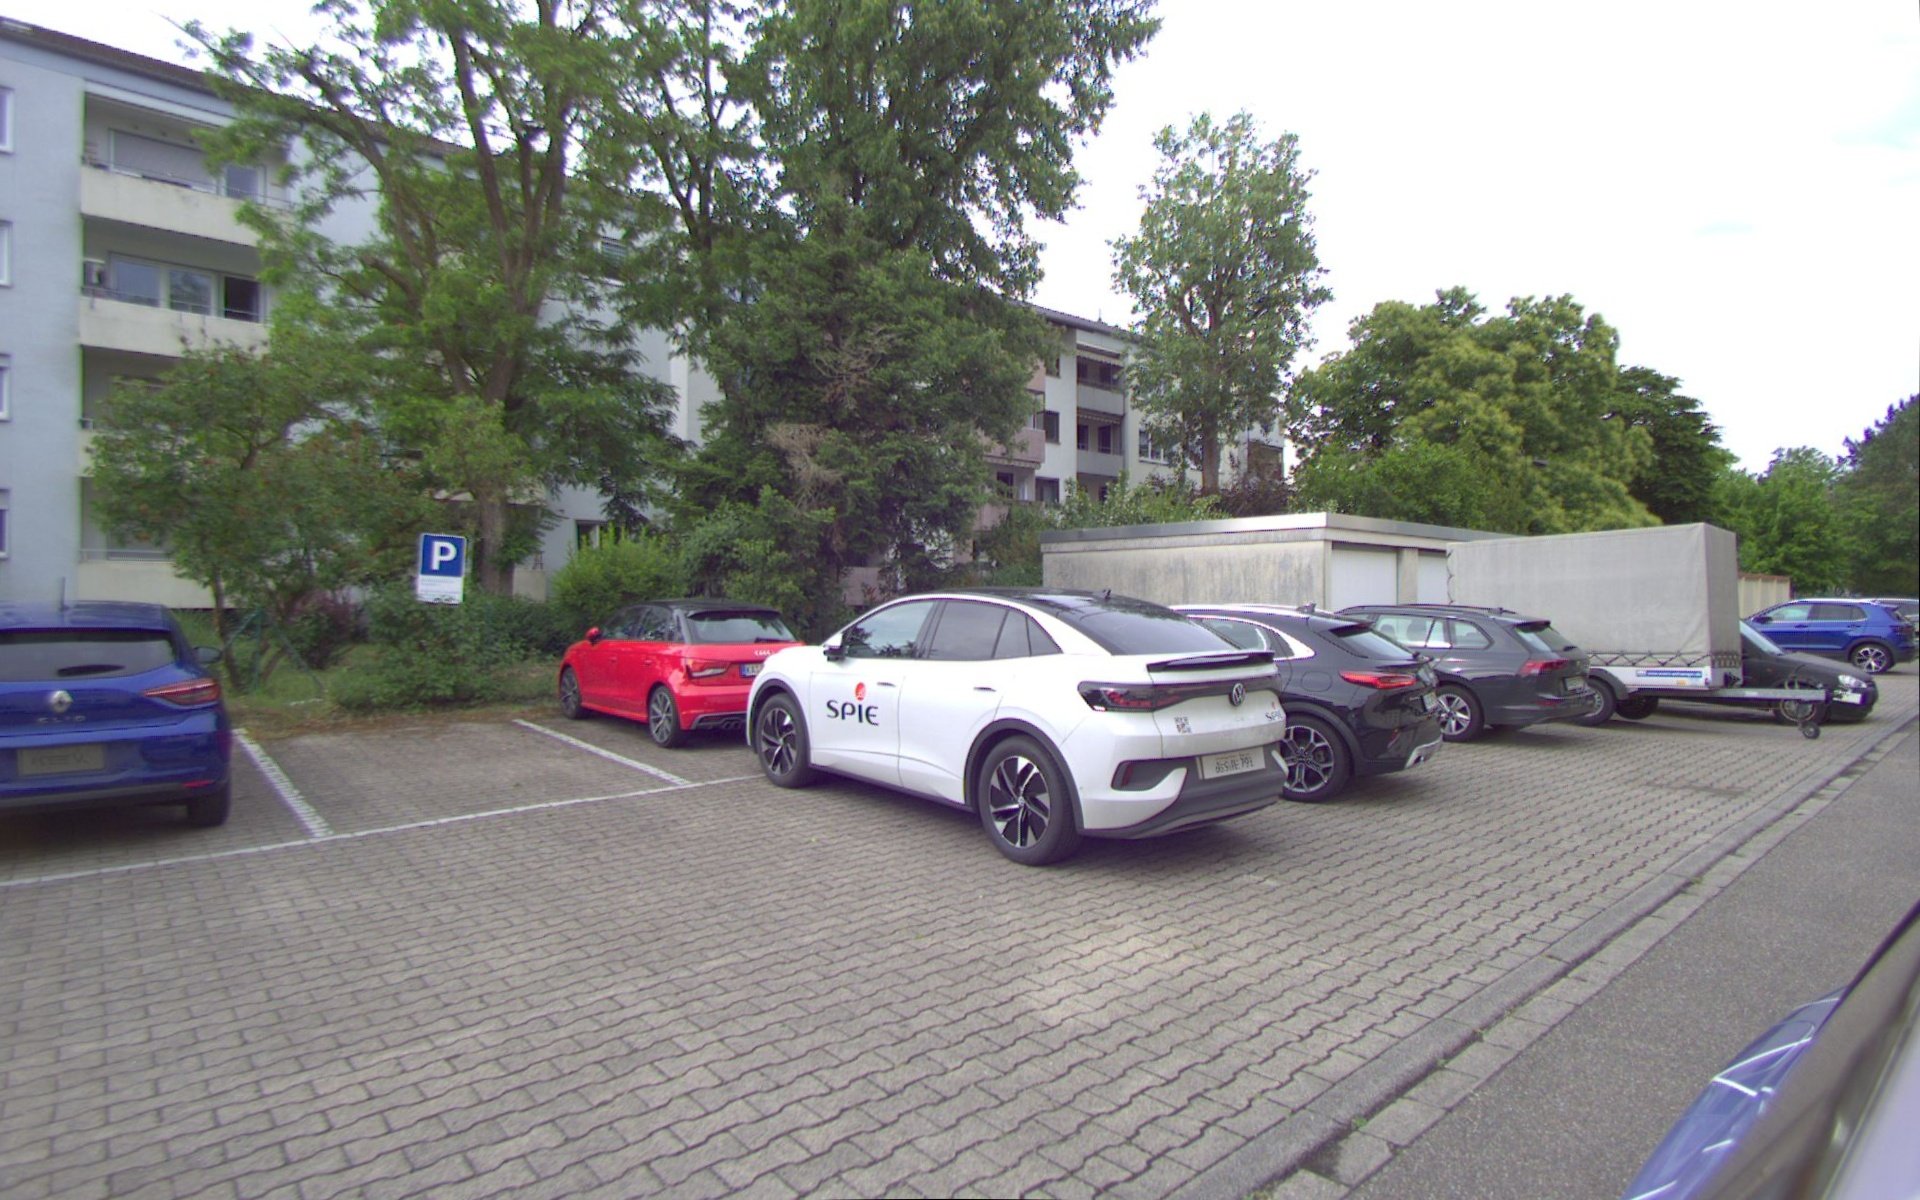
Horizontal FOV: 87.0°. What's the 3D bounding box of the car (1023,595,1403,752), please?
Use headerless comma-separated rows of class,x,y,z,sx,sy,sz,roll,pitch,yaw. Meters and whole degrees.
car,2.771,0.700,11.820,1.880,1.467,4.005,0,0,-38

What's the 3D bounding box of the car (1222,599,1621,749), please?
car,5.387,0.745,12.252,1.584,1.467,4.134,0,0,-41

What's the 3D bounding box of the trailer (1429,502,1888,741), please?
trailer,8.884,0.238,13.245,1.908,2.557,4.617,0,-1,-41

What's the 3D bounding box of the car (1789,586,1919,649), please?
car,28.002,0.525,30.641,1.966,1.749,4.202,1,2,-42

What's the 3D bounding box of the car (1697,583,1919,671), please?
car,19.521,0.547,23.130,1.966,1.724,3.994,1,2,-42

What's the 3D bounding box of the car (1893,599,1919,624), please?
car,60.440,0.729,62.443,1.757,1.504,4.099,0,1,-42

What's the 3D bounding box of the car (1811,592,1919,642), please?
car,33.654,0.615,36.501,1.902,1.605,4.295,1,2,-42

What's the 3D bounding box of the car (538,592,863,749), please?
car,-3.004,0.629,11.204,1.937,1.398,3.903,1,0,-41

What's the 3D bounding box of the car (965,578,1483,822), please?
car,2.208,0.659,8.993,3.982,1.571,1.971,3,2,40

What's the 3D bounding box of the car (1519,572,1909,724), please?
car,11.033,0.566,15.057,1.966,1.824,4.318,1,2,-42

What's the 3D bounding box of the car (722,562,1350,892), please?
car,0.204,0.608,7.332,1.952,1.609,4.547,1,0,-39

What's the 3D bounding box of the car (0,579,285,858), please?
car,-6.310,0.635,7.210,1.992,1.530,3.903,1,0,-41
